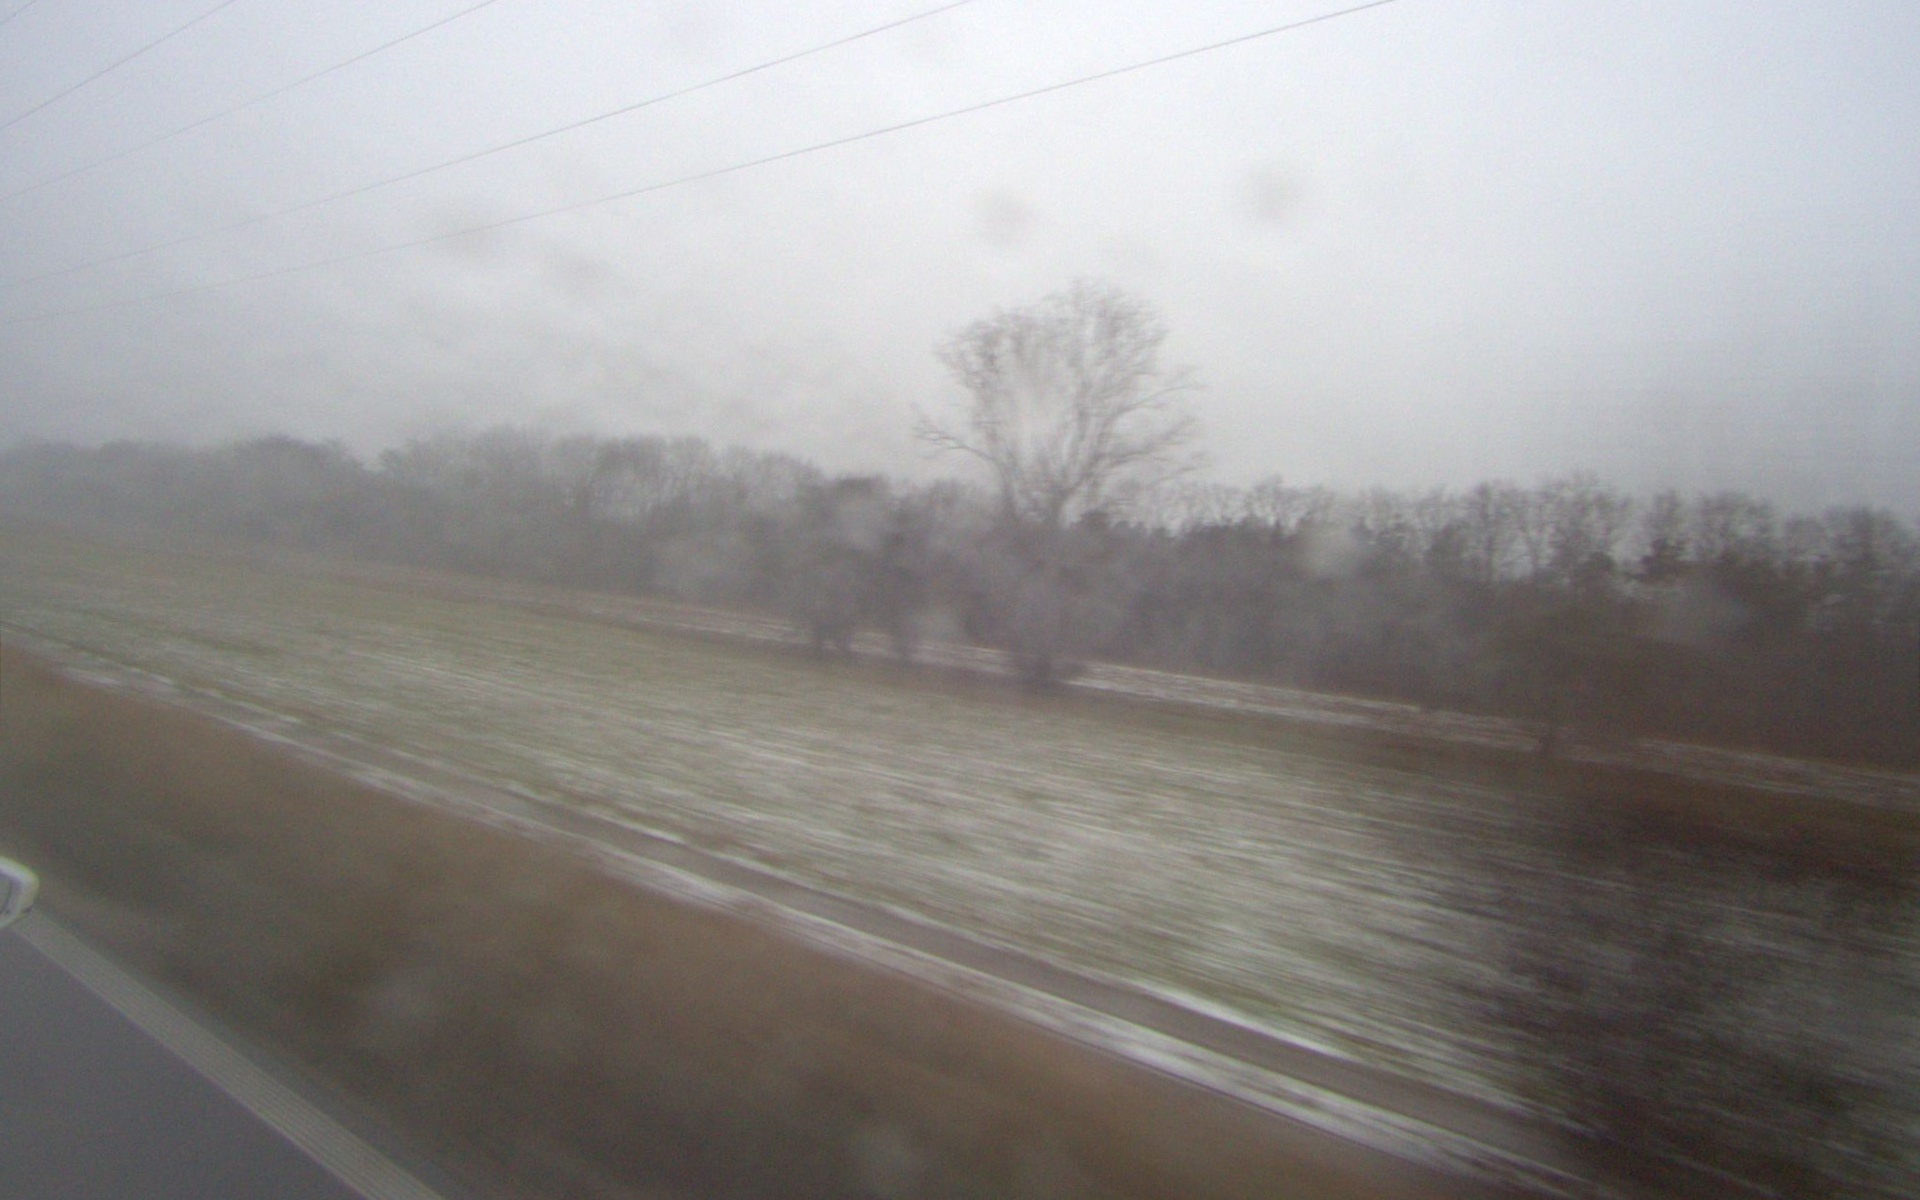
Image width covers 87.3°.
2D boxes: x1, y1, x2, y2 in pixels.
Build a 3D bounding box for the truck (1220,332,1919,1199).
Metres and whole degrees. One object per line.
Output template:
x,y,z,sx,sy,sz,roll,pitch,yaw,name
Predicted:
5.079,1.053,2.889,7.726,3.012,2.539,7,-1,31,truck
